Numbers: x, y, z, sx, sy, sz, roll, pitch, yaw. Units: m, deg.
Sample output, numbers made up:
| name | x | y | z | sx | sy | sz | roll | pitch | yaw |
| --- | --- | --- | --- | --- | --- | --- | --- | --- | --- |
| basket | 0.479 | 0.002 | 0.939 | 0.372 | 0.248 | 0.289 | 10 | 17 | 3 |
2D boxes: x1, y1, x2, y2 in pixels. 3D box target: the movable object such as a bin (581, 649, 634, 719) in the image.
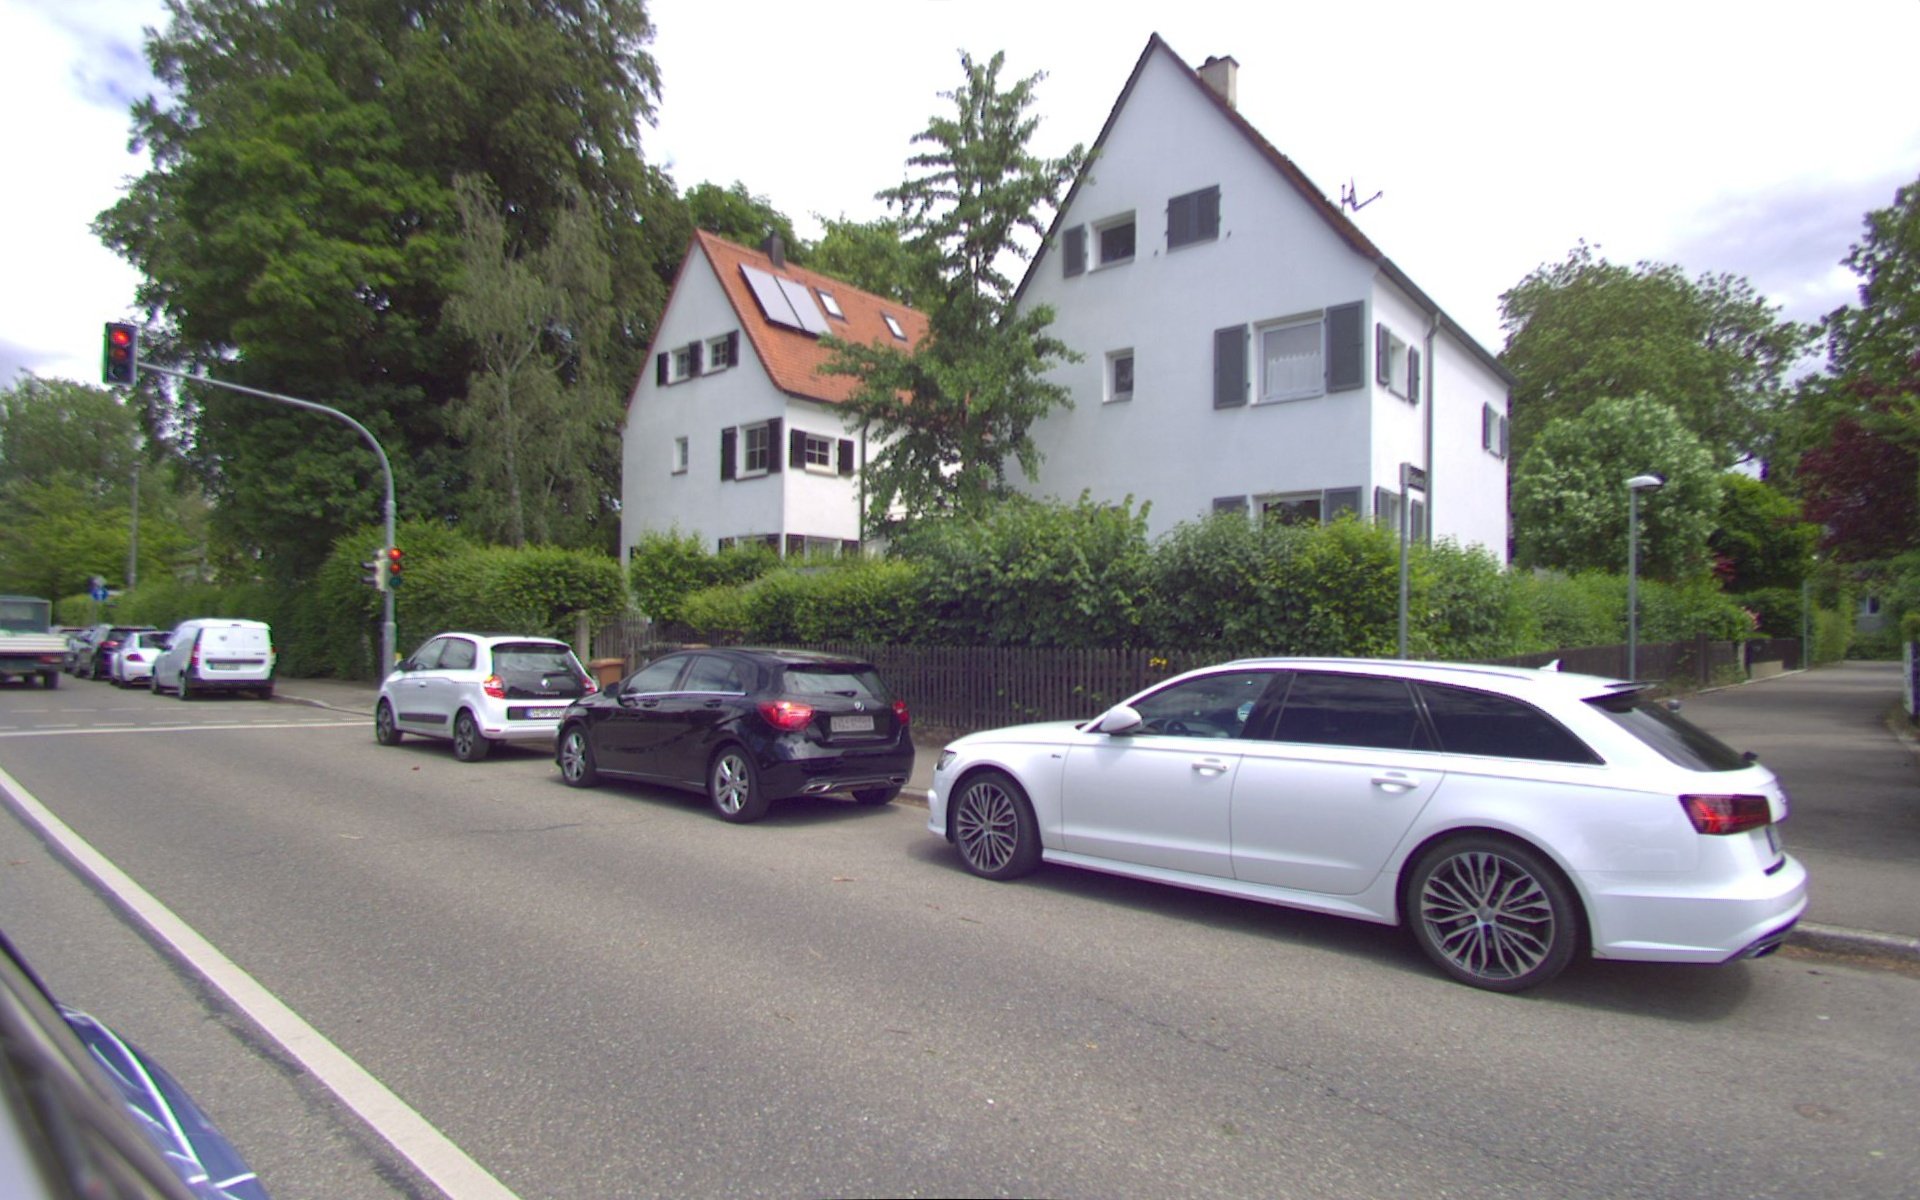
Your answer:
| name | x | y | z | sx | sy | sz | roll | pitch | yaw |
| --- | --- | --- | --- | --- | --- | --- | --- | --- | --- |
| movable object such as a bin | -5.872 | 1.381 | 16.844 | 0.749 | 1.088 | 0.510 | -2 | 0 | 42 |

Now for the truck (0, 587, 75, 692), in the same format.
| name | x | y | z | sx | sy | sz | roll | pitch | yaw |
| --- | --- | --- | --- | --- | --- | --- | --- | --- | --- |
| truck | -24.385 | 0.992 | 25.597 | 6.903 | 2.390 | 2.165 | -2 | -4 | 43 |

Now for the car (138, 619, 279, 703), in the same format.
| name | x | y | z | sx | sy | sz | roll | pitch | yaw |
| --- | --- | --- | --- | --- | --- | --- | --- | --- | --- |
| car | -17.615 | 1.385 | 23.641 | 4.605 | 1.772 | 1.659 | -2 | -4 | 41 |

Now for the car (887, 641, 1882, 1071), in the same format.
| name | x | y | z | sx | sy | sz | roll | pitch | yaw |
| --- | --- | --- | --- | --- | --- | --- | --- | --- | --- |
| car | 1.967 | 1.012 | 5.950 | 5.068 | 1.470 | 1.786 | -2 | -4 | 43 |

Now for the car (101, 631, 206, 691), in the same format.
| name | x | y | z | sx | sy | sz | roll | pitch | yaw |
| --- | --- | --- | --- | --- | --- | --- | --- | --- | --- |
| car | -21.640 | 1.601 | 27.100 | 1.685 | 1.464 | 4.360 | 6 | -6 | -44 |

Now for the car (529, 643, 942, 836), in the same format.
| name | x | y | z | sx | sy | sz | roll | pitch | yaw |
| --- | --- | --- | --- | --- | --- | --- | --- | --- | --- |
| car | -2.322 | 1.156 | 9.735 | 4.323 | 1.421 | 1.723 | -2 | -4 | 43 |

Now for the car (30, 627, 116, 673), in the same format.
| name | x | y | z | sx | sy | sz | roll | pitch | yaw |
| --- | --- | --- | --- | --- | --- | --- | --- | --- | --- |
| car | -33.598 | 1.859 | 38.288 | 4.413 | 1.623 | 1.772 | -2 | -3 | 40 |

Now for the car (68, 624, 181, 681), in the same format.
| name | x | y | z | sx | sy | sz | roll | pitch | yaw |
| --- | --- | --- | --- | --- | --- | --- | --- | --- | --- |
| car | -25.534 | 1.559 | 30.878 | 4.641 | 1.606 | 1.876 | -2 | -3 | 41 |

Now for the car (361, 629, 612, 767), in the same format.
| name | x | y | z | sx | sy | sz | roll | pitch | yaw |
| --- | --- | --- | --- | --- | --- | --- | --- | --- | --- |
| car | -6.342 | 1.198 | 13.390 | 3.743 | 1.555 | 1.684 | -2 | -4 | 43 |
